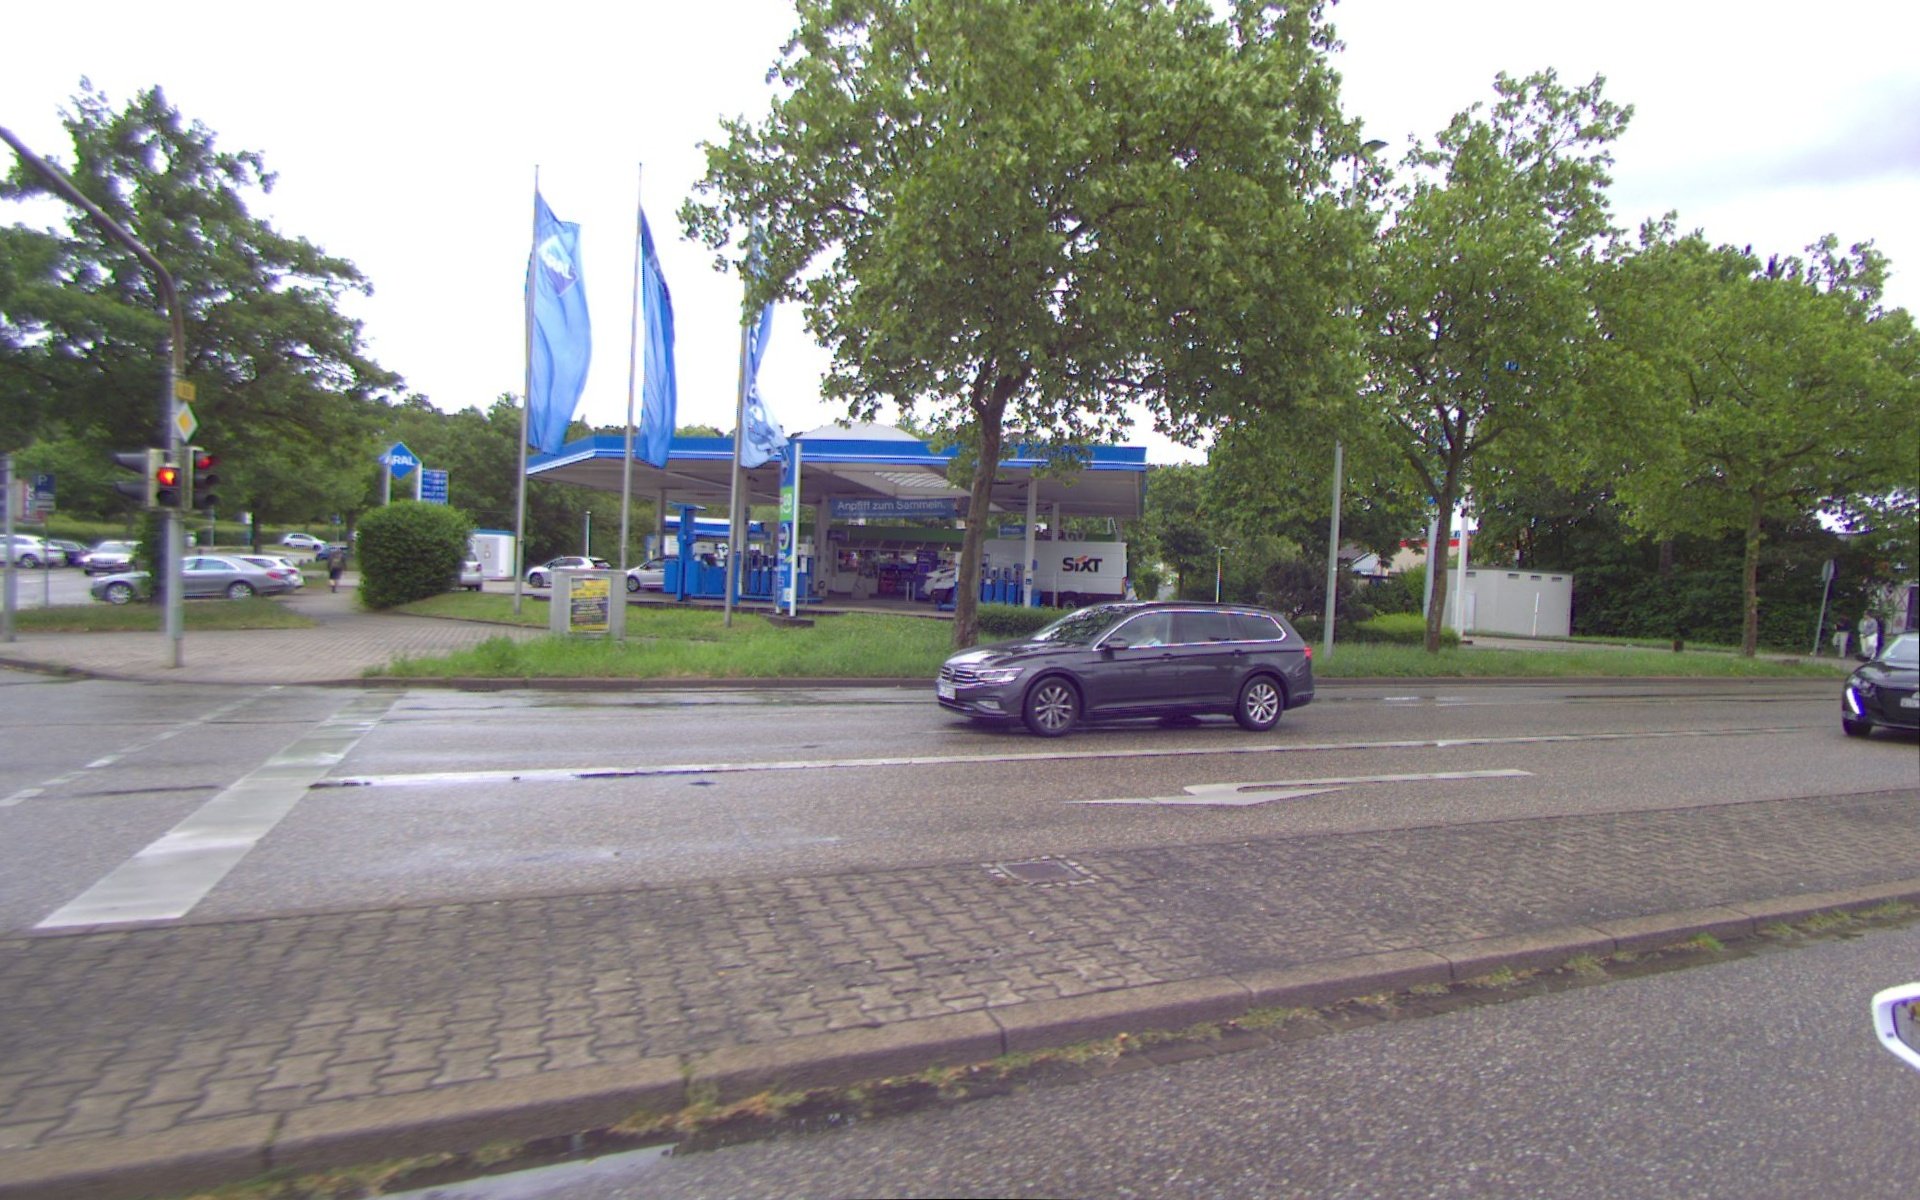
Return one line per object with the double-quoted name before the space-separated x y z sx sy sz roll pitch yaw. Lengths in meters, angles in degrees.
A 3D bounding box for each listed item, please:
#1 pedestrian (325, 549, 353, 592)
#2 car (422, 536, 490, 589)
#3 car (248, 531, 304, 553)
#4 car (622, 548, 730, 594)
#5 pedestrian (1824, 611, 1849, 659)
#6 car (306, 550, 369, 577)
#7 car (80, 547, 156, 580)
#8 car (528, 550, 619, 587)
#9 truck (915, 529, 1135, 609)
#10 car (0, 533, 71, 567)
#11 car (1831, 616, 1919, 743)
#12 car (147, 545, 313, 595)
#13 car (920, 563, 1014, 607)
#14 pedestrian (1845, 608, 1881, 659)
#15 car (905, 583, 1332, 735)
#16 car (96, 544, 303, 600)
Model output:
"pedestrian" -24.809 -1.173 40.141 0.799 1.683 0.882 1 1 -22
"car" -18.772 -1.372 37.356 1.795 1.821 3.665 2 0 -34
"car" -62.605 -5.275 91.998 3.944 1.818 1.845 1 1 -24
"car" -12.403 -1.297 43.982 4.044 1.832 1.946 2 3 10
"pedestrian" 32.026 1.271 36.703 0.534 1.705 0.509 1 1 -28
"car" -42.647 -2.475 68.875 3.421 1.676 1.608 2 0 -22
"car" -40.682 -1.727 48.600 1.677 1.475 3.655 1 0 -21
"car" -19.588 -1.594 50.927 3.919 1.751 1.796 2 1 10
"truck" 2.376 -1.114 36.419 7.713 2.711 2.156 1 0 9
"car" -48.843 -2.600 51.699 4.221 1.631 1.677 2 1 -20
"car" 13.297 1.025 13.420 3.855 1.528 1.632 1 0 -36
"car" -26.464 -1.061 36.613 4.524 1.610 1.918 2 1 -24
"car" 0.307 -0.630 41.834 3.491 1.603 1.690 4 1 15
"pedestrian" 32.431 1.194 36.076 0.572 1.790 0.666 2 2 -7
"car" 1.885 0.642 11.909 4.663 1.528 1.989 2 0 -23
"car" -23.778 -0.846 31.673 4.834 1.569 1.988 1 1 -24
